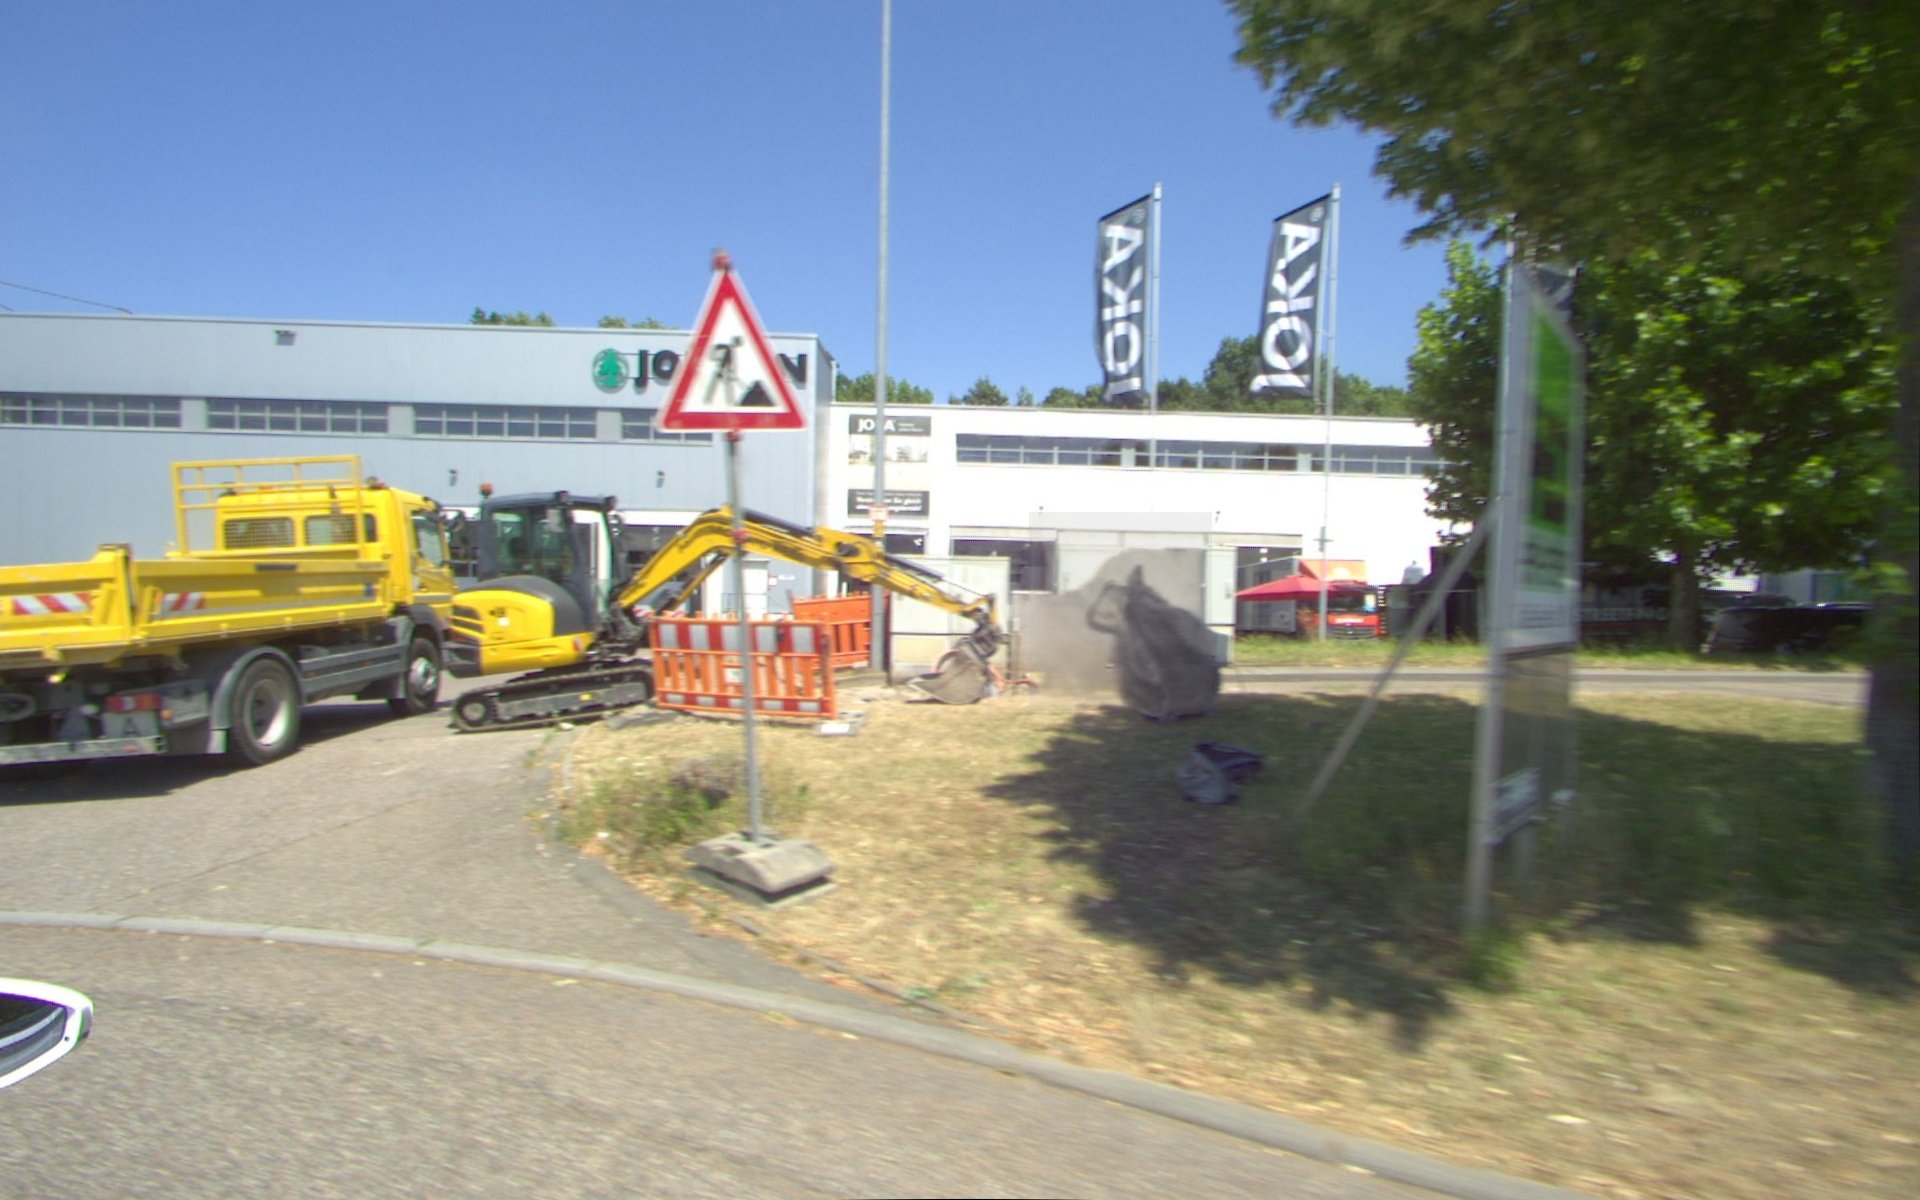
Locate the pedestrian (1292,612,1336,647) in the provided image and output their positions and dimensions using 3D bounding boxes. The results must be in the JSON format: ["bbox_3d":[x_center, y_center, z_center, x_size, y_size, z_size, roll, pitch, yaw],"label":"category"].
[{"bbox_3d":[7.478,0.620,21.148,0.852,0.704,0.406,0,1,23],"label":"pedestrian"}]

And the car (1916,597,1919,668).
[{"bbox_3d":[24.086,0.630,22.014,1.521,2.040,4.261,3,-1,-12],"label":"car"}]

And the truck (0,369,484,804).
[{"bbox_3d":[-7.647,-0.188,10.508,2.545,3.180,6.418,-2,2,-5],"label":"truck"}]

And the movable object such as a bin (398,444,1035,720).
[{"bbox_3d":[-2.434,-0.142,11.014,6.450,2.615,2.000,-1,0,4],"label":"movable object such as a bin"}]

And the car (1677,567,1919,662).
[{"bbox_3d":[16.625,0.270,19.525,3.922,1.751,1.840,0,1,1],"label":"car"}]
